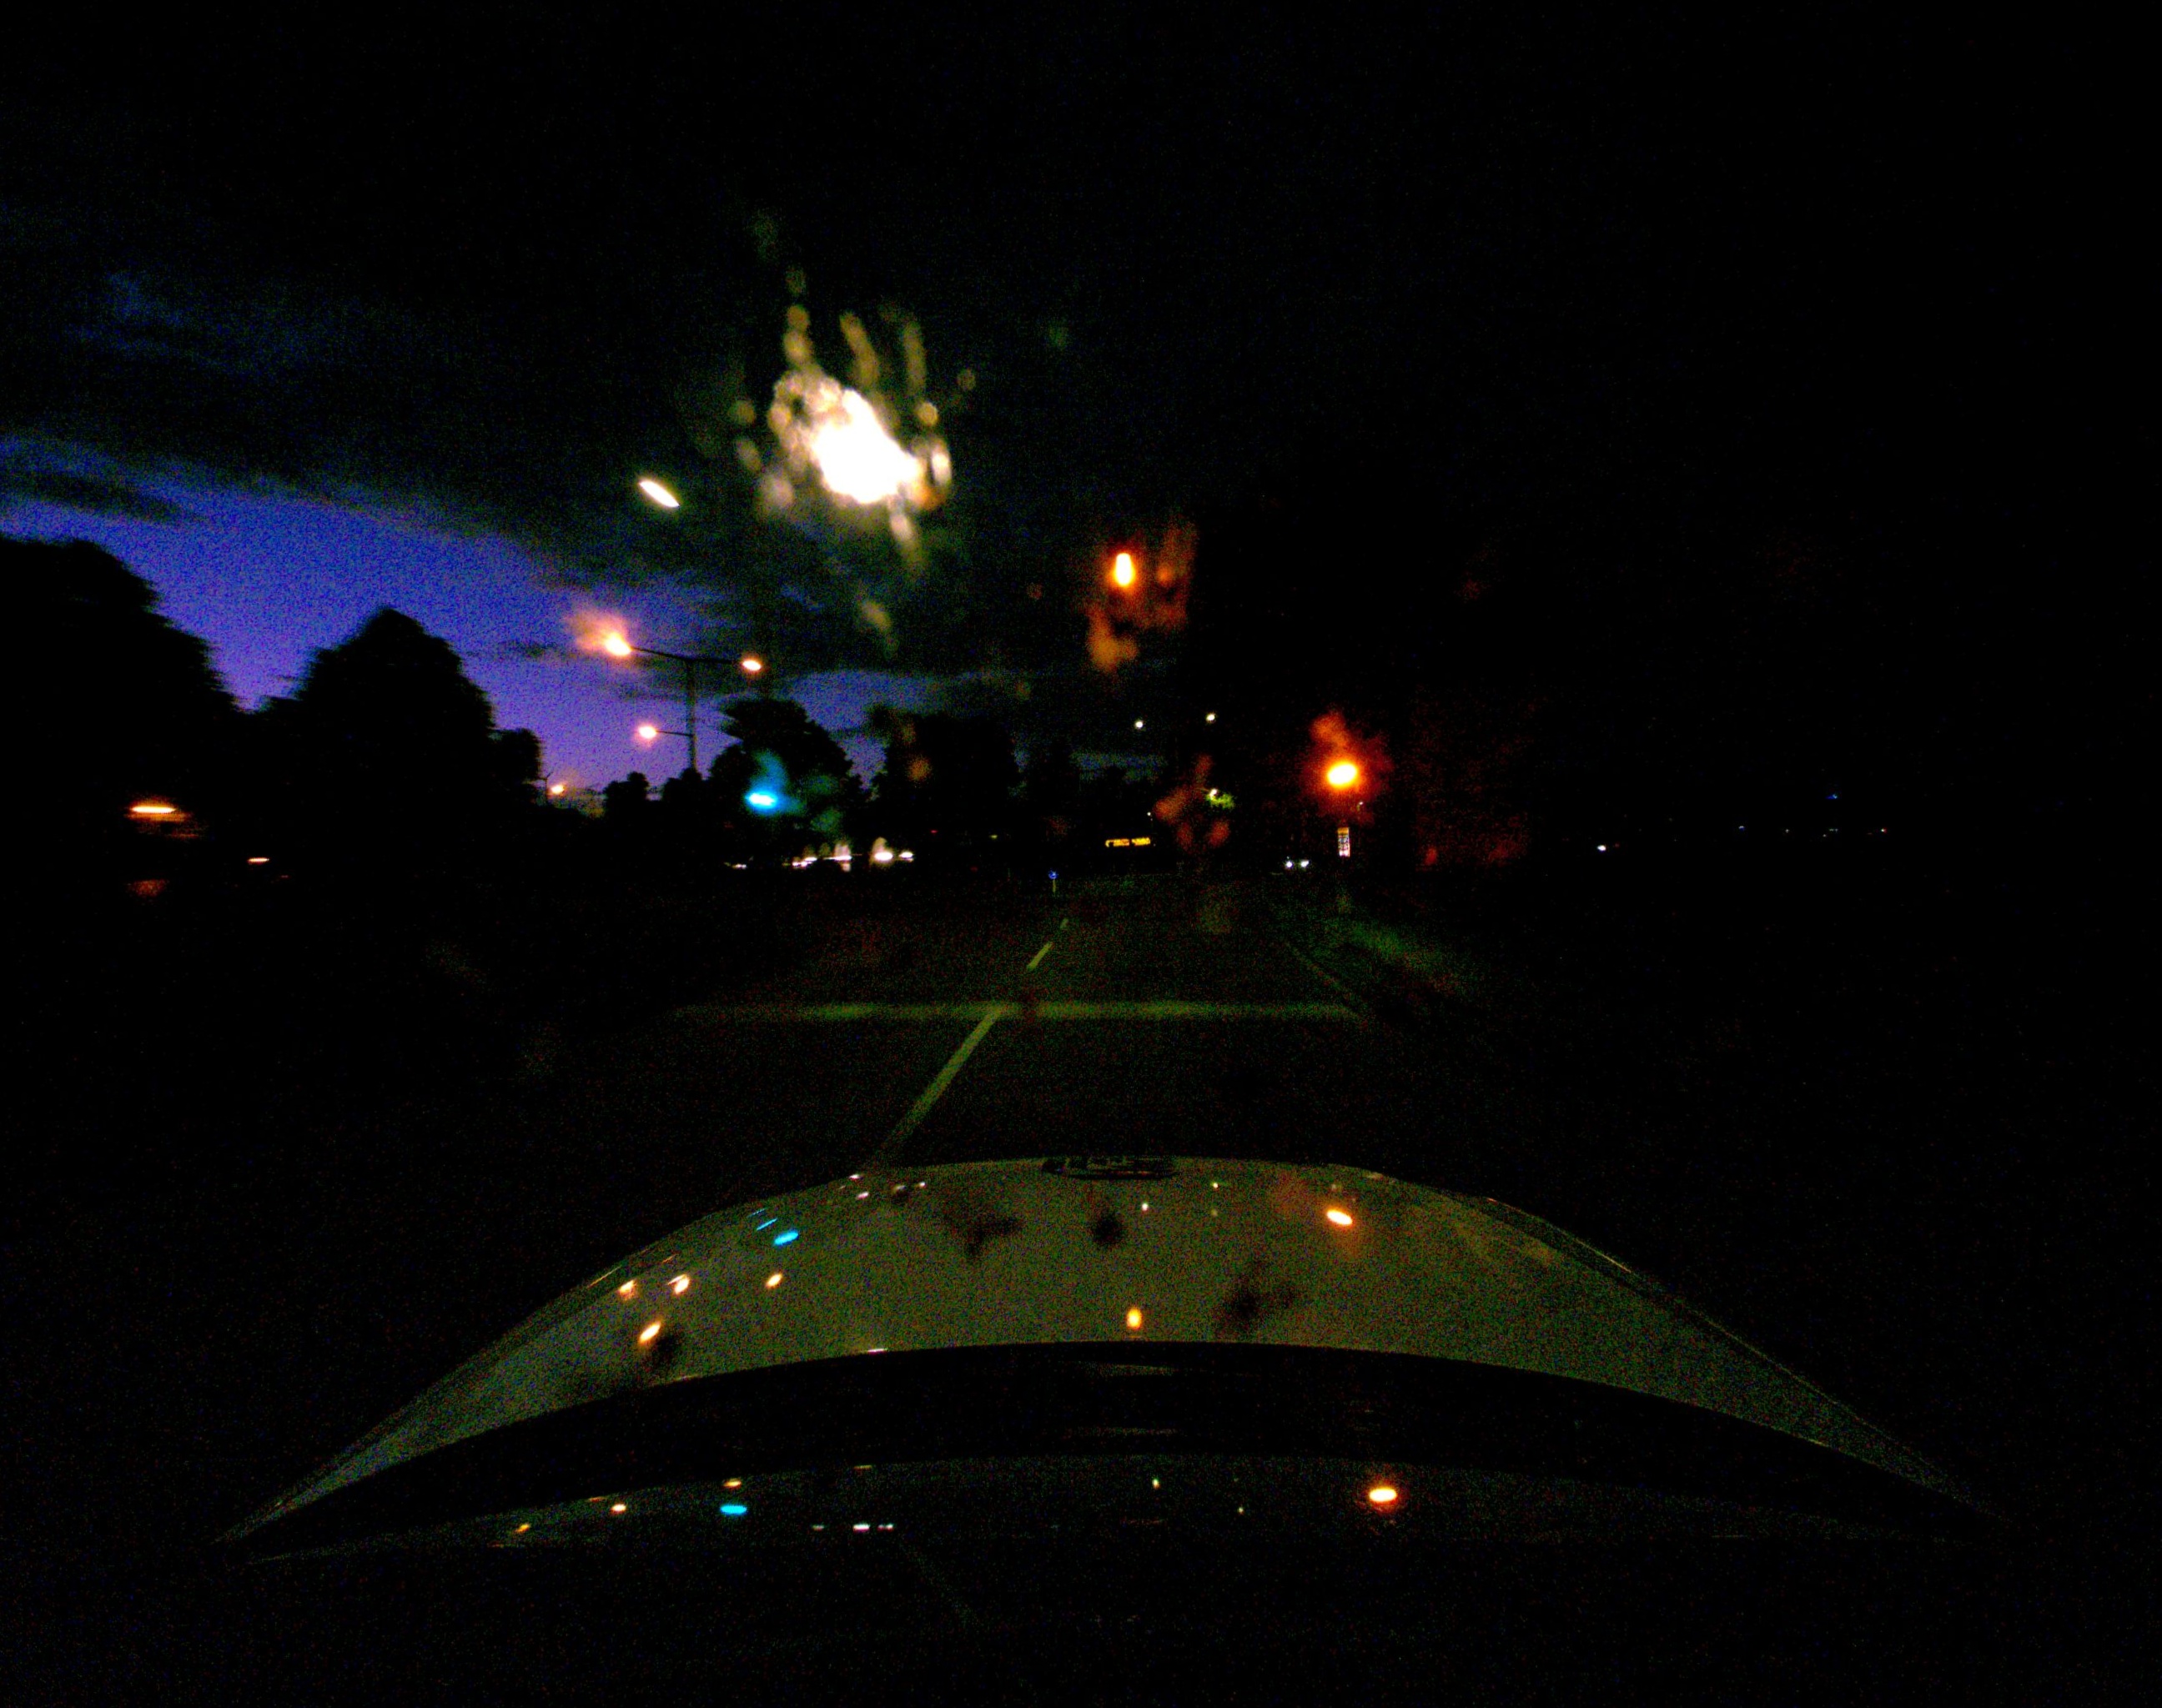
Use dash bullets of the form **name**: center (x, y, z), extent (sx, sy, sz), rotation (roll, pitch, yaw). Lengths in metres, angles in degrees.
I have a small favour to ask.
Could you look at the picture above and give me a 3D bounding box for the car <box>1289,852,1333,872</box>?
- **car**: center (17.686, 0.593, 62.528), extent (1.742, 1.445, 4.556), rotation (-2, -1, 37)
